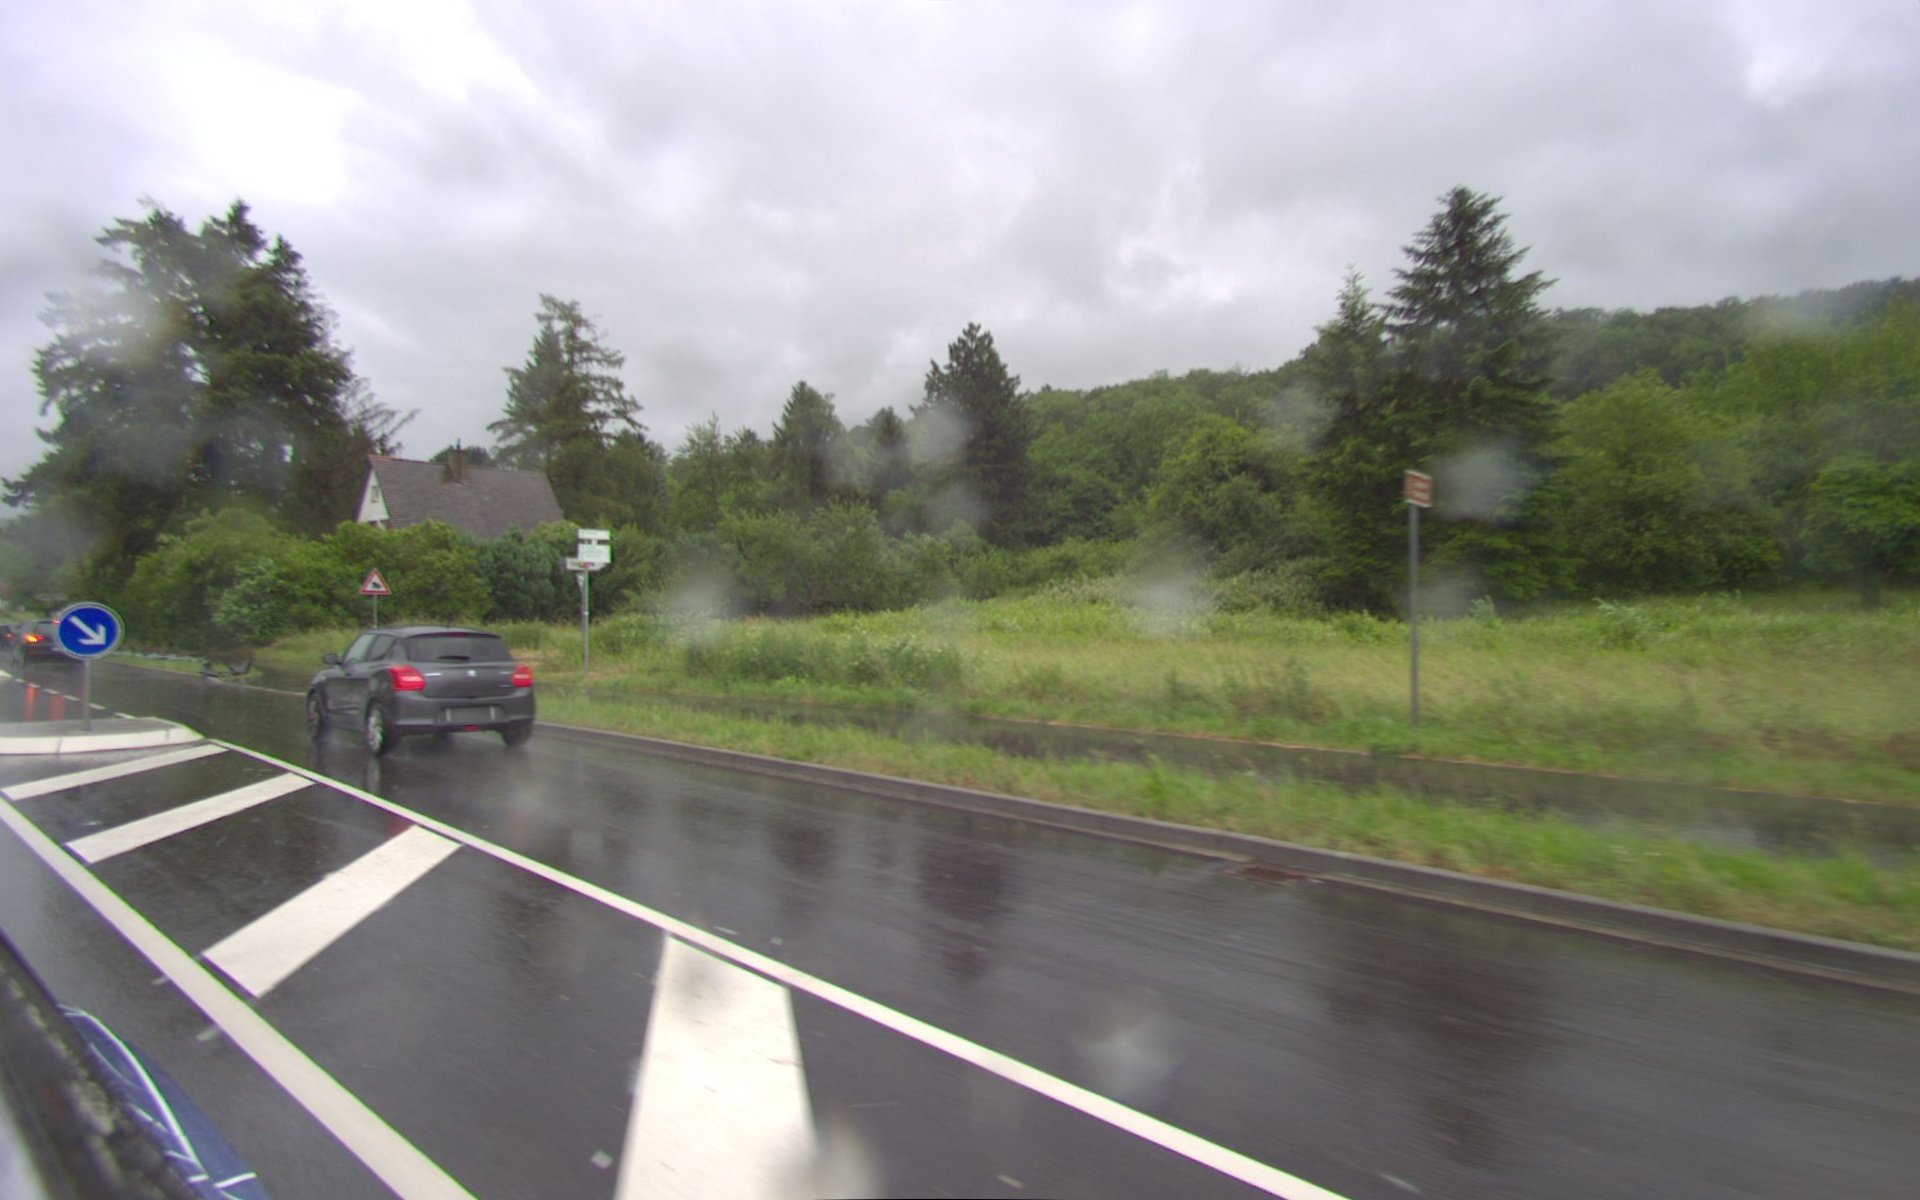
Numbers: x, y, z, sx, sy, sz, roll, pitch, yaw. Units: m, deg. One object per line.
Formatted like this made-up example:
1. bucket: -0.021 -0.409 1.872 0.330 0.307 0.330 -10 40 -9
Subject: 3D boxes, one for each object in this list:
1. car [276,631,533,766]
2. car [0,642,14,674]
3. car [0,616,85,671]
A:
1. car: -7.012 1.118 12.629 3.767 1.412 1.678 -1 -3 43
2. car: -46.468 2.783 48.149 3.680 1.456 1.723 -2 1 41
3. car: -31.117 1.465 34.203 4.265 1.731 1.723 -2 -3 41
